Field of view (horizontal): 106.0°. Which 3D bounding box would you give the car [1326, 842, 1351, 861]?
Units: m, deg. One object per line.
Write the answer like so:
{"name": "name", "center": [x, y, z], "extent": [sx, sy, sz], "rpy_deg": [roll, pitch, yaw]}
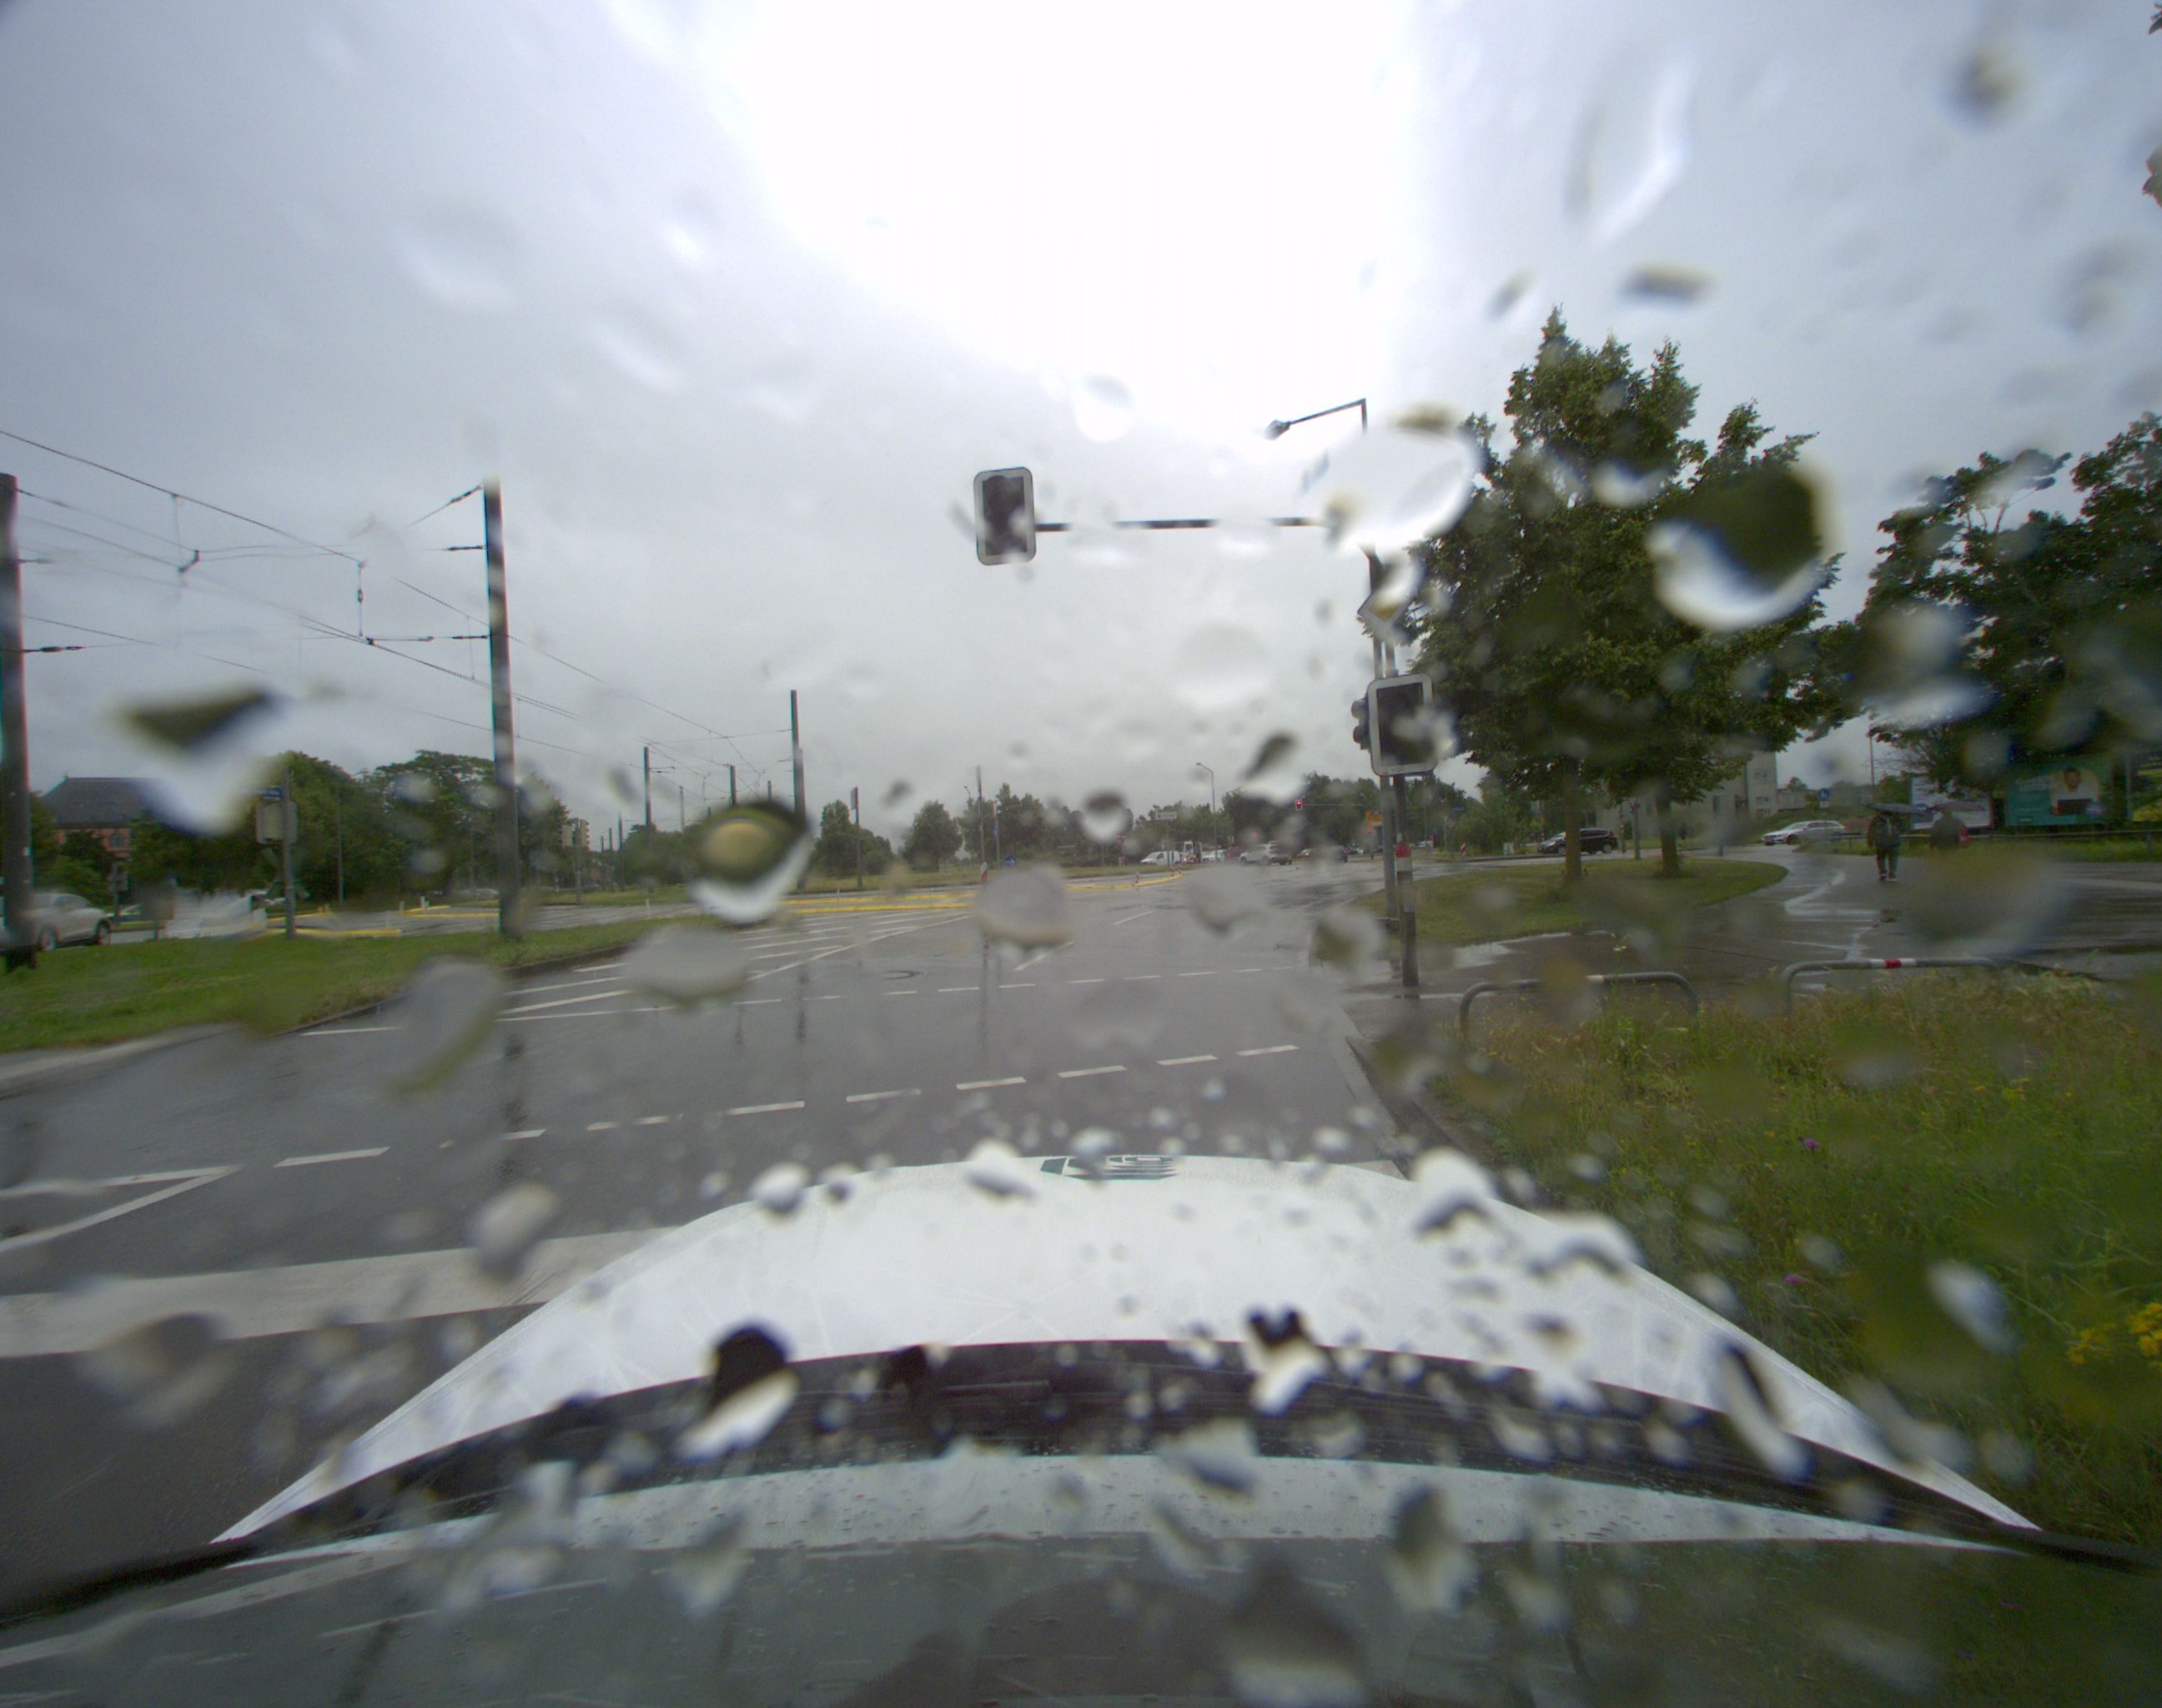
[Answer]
{"name": "car", "center": [21.372, -0.242, 67.660], "extent": [1.677, 1.492, 3.263], "rpy_deg": [-3, 0, 13]}

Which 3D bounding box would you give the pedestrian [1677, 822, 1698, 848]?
{"name": "pedestrian", "center": [42.712, -1.337, 57.316], "extent": [0.947, 1.772, 0.715], "rpy_deg": [-1, -1, 11]}

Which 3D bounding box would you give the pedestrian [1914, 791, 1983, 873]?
{"name": "pedestrian", "center": [19.576, -0.469, 18.377], "extent": [0.811, 1.784, 0.914], "rpy_deg": [0, -1, -33]}

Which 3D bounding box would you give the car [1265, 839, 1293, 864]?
{"name": "car", "center": [16.603, -0.180, 68.485], "extent": [1.774, 2.036, 4.008], "rpy_deg": [0, -1, 7]}

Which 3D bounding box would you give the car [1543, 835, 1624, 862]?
{"name": "car", "center": [31.649, -0.308, 51.416], "extent": [3.966, 1.648, 1.792], "rpy_deg": [0, -1, 6]}

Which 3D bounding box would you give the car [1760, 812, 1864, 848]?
{"name": "car", "center": [46.263, -1.500, 51.616], "extent": [4.804, 1.810, 1.790], "rpy_deg": [-5, 0, 1]}

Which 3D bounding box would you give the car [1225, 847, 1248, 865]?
{"name": "car", "center": [13.438, 0.183, 70.556], "extent": [1.680, 1.492, 3.257], "rpy_deg": [0, -1, 7]}

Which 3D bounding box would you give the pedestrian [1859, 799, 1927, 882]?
{"name": "pedestrian", "center": [18.161, -0.290, 18.223], "extent": [0.811, 1.784, 0.914], "rpy_deg": [0, -1, -33]}

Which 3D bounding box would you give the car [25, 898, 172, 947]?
{"name": "car", "center": [-54.531, 3.731, 45.338], "extent": [1.975, 2.327, 4.870], "rpy_deg": [-1, -1, 26]}

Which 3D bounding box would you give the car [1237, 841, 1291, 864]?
{"name": "car", "center": [13.410, -0.105, 59.857], "extent": [1.691, 1.648, 3.908], "rpy_deg": [0, -1, -30]}

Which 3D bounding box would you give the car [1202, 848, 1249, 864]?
{"name": "car", "center": [15.799, 0.255, 89.066], "extent": [4.810, 1.744, 1.786], "rpy_deg": [-1, -1, 19]}

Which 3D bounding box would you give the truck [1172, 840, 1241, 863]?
{"name": "truck", "center": [15.149, -0.279, 98.065], "extent": [8.820, 2.711, 1.981], "rpy_deg": [0, -1, -29]}

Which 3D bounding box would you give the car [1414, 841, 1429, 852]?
{"name": "car", "center": [65.511, -1.394, 156.651], "extent": [1.771, 2.014, 3.697], "rpy_deg": [-1, -1, 39]}

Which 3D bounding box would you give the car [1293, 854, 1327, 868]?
{"name": "car", "center": [30.111, 0.910, 107.149], "extent": [4.889, 1.744, 1.758], "rpy_deg": [0, -1, -38]}

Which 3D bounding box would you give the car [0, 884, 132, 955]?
{"name": "car", "center": [-25.819, 1.552, 19.968], "extent": [1.856, 1.486, 4.188], "rpy_deg": [0, -1, -28]}

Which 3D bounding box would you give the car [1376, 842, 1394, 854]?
{"name": "car", "center": [53.343, -1.075, 142.925], "extent": [1.771, 2.014, 3.697], "rpy_deg": [-1, -1, 39]}

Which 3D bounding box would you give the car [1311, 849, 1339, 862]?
{"name": "car", "center": [33.628, 0.177, 112.084], "extent": [1.975, 1.750, 4.023], "rpy_deg": [-1, -1, 45]}

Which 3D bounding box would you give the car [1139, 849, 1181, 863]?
{"name": "car", "center": [8.740, 0.224, 89.574], "extent": [4.565, 1.492, 1.595], "rpy_deg": [0, -1, -32]}
